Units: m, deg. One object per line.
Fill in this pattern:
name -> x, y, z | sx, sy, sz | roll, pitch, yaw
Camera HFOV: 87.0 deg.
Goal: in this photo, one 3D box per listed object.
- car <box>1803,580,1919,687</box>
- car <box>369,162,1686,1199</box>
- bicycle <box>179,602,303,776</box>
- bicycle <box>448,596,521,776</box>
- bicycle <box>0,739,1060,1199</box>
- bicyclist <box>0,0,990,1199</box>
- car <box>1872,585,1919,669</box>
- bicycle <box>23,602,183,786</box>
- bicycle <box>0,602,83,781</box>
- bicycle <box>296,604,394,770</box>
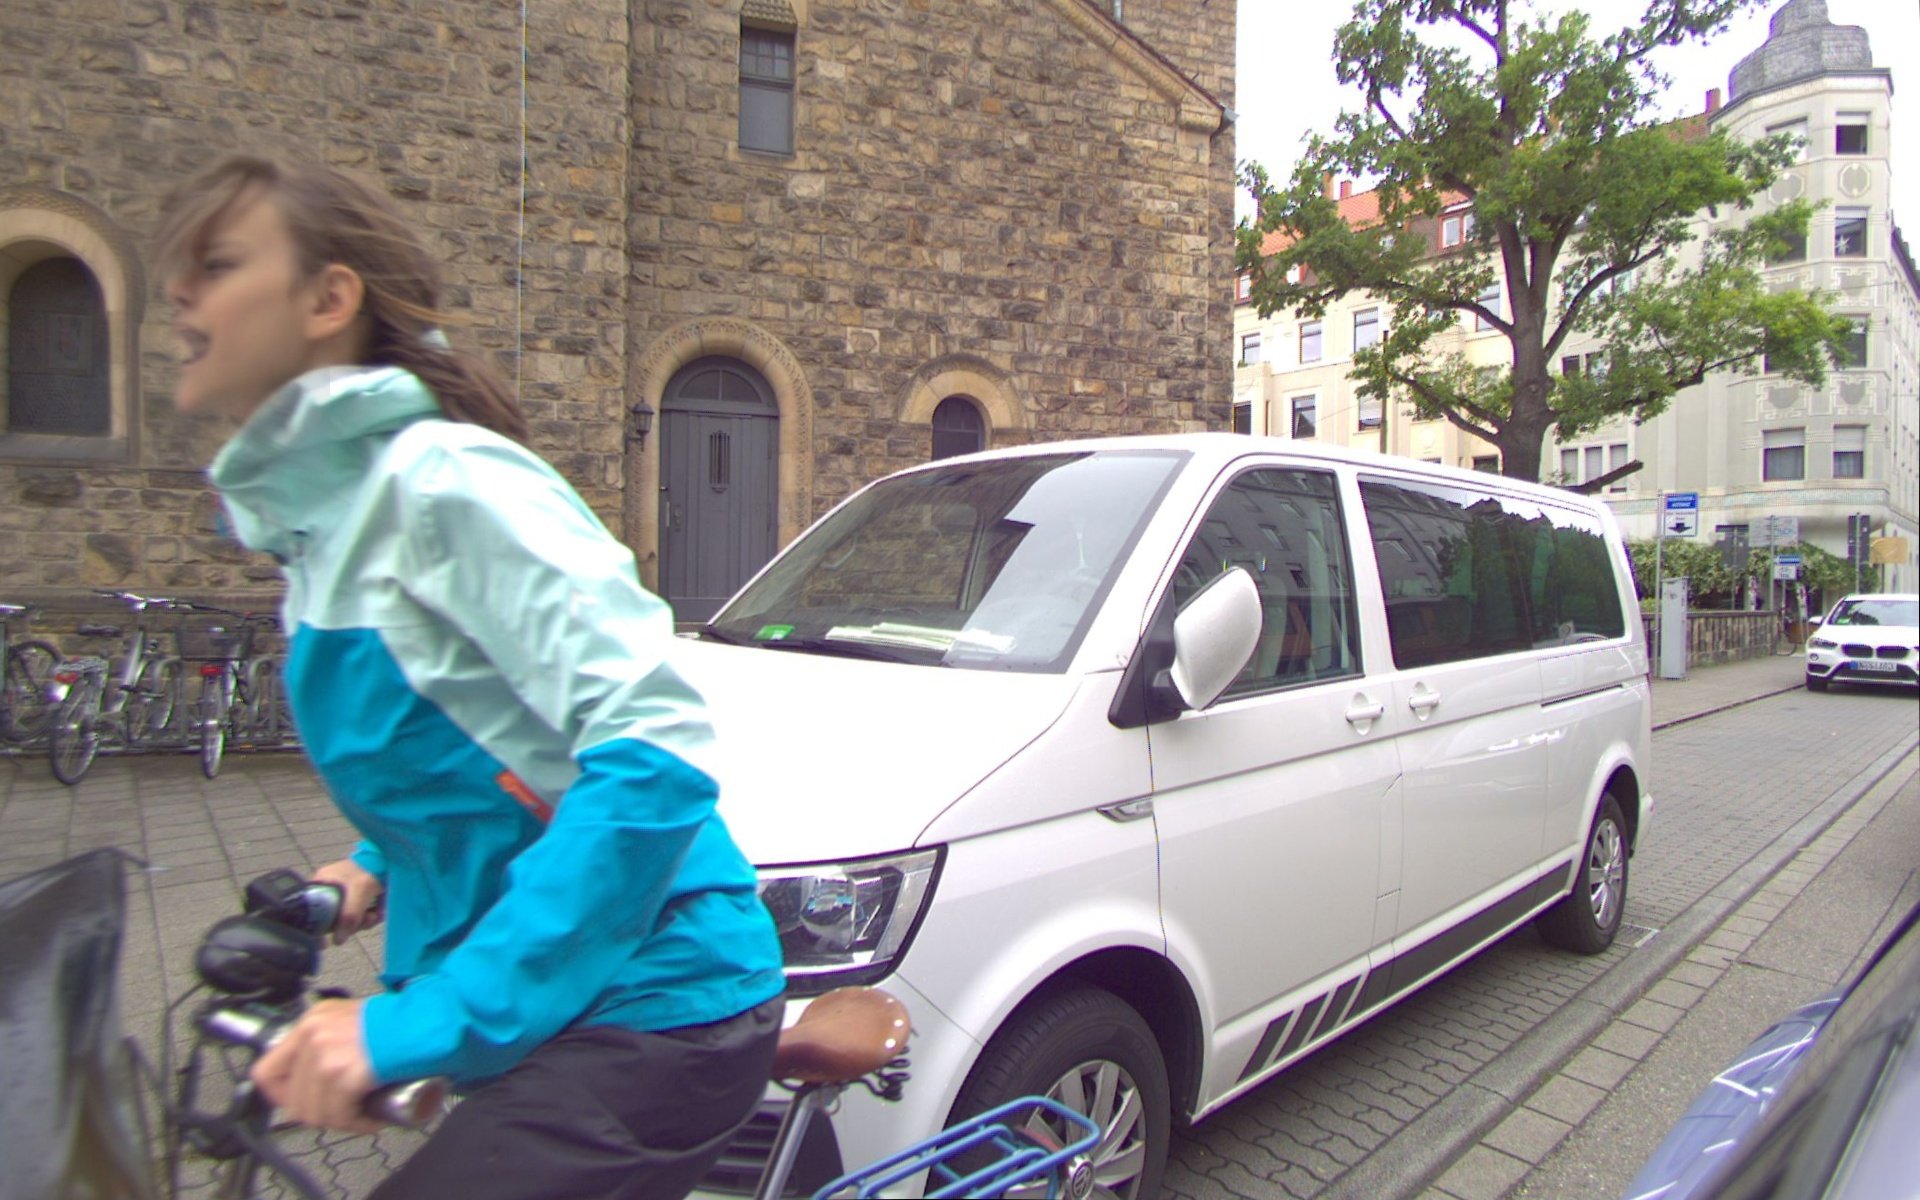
car -> 15.420, 0.496, 16.610 | 3.930, 1.585, 1.818 | 0, 1, -41
car -> 0.920, 0.391, 3.706 | 5.075, 1.944, 1.807 | 0, 0, -42
bicycle -> -4.981, 0.564, 7.068 | 0.304, 1.073, 1.386 | 1, 0, -18
bicycle -> -3.399, 0.556, 7.282 | 0.304, 1.161, 1.346 | 1, 0, -18
bicycle -> -0.967, 0.736, 0.653 | 2.094, 1.112, 0.496 | 0, 0, -26
bicyclist -> -0.602, 0.345, 0.720 | 1.036, 1.537, 0.689 | 1, 0, -25
car -> 19.847, 0.524, 20.323 | 3.930, 1.585, 1.818 | 0, 1, -41
bicycle -> -5.636, 0.562, 6.720 | 0.304, 1.073, 1.386 | 1, 0, -18
bicycle -> -6.077, 0.563, 6.385 | 0.304, 1.073, 1.386 | 1, 0, -18
bicycle -> -4.440, 0.574, 7.356 | 0.304, 1.073, 1.346 | 1, 0, -18
